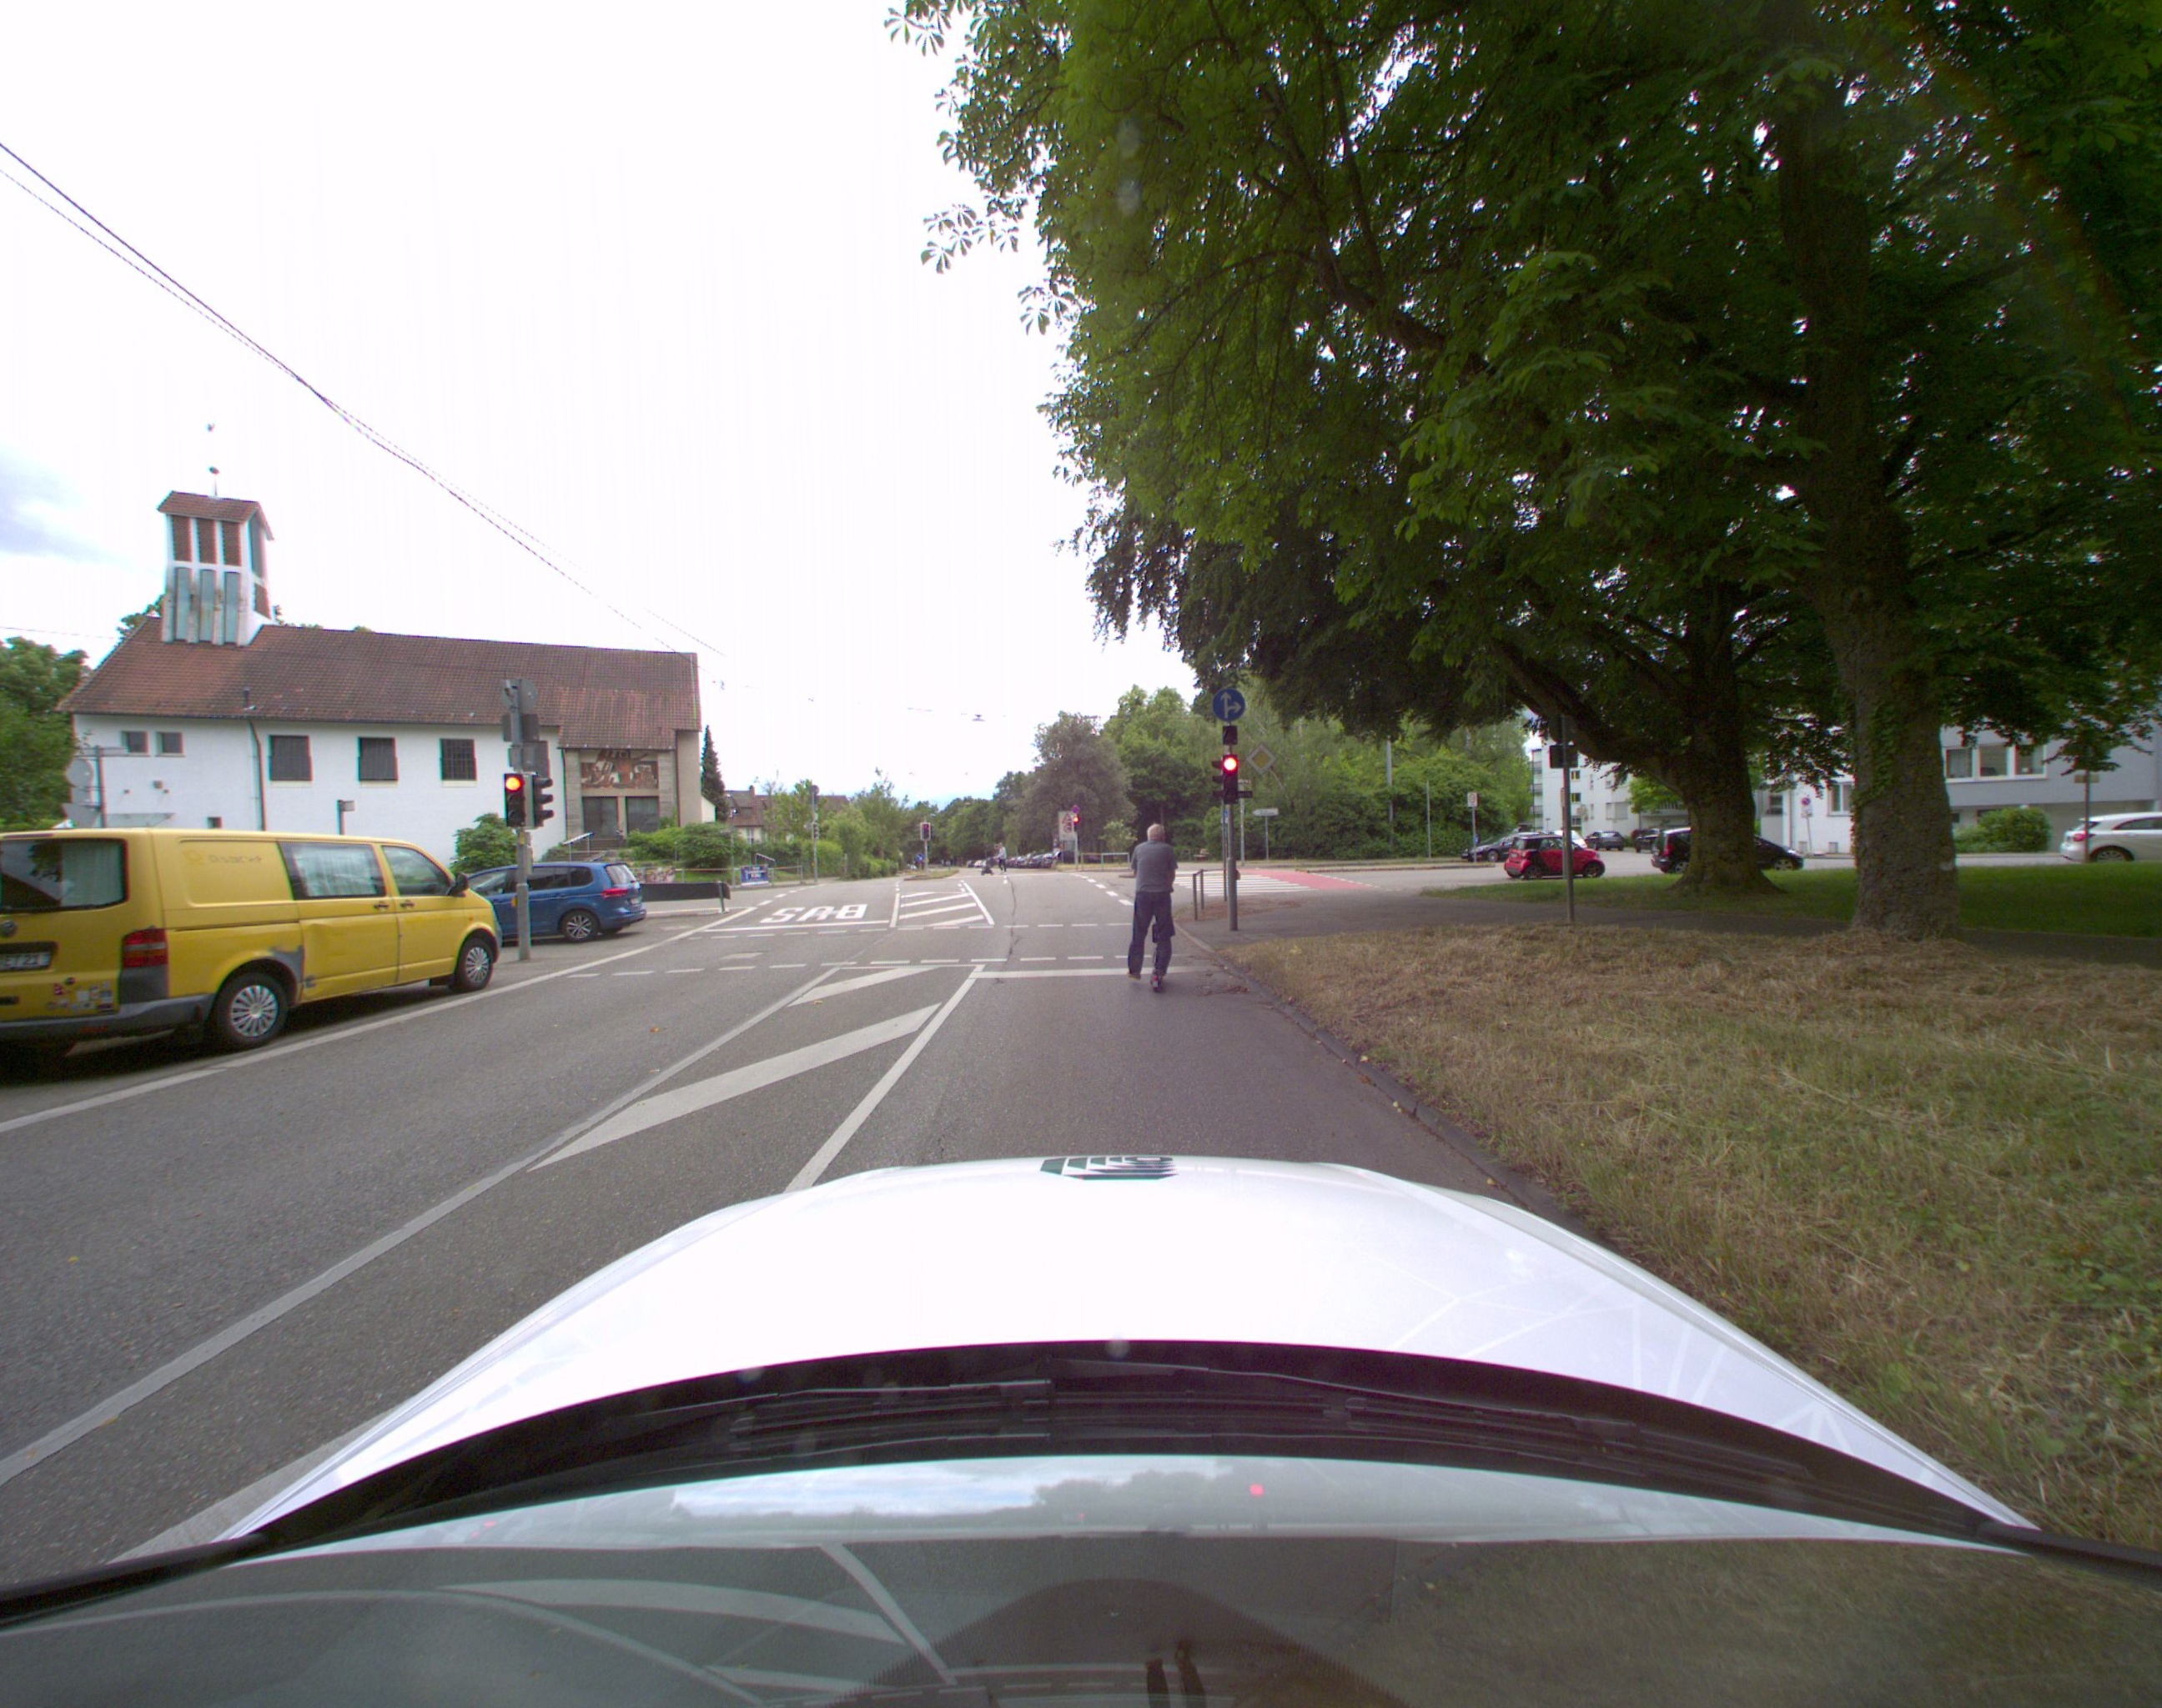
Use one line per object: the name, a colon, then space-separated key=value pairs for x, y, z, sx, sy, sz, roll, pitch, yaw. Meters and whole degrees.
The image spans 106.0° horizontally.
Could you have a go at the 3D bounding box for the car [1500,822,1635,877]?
car: x=16.422 y=-0.149 z=27.633 sx=3.500 sy=1.610 sz=1.731 roll=-3 pitch=0 yaw=6

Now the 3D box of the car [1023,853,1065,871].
car: x=-3.711 y=0.813 z=81.706 sx=3.856 sy=1.610 sz=1.716 roll=-3 pitch=0 yaw=-22

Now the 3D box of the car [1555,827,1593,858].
car: x=28.564 y=-0.678 z=47.243 sx=1.706 sy=1.610 sz=3.878 roll=-3 pitch=0 yaw=29

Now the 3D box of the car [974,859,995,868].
car: x=-19.094 y=1.855 z=161.164 sx=3.856 sy=1.610 sz=1.716 roll=-3 pitch=0 yaw=-22

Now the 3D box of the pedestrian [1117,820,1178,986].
pedestrian: x=0.756 y=0.541 z=9.213 sx=0.569 sy=1.813 sz=0.421 roll=-2 pitch=0 yaw=9

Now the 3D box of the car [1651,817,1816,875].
car: x=20.738 y=-0.255 z=26.103 sx=3.805 sy=1.610 sz=1.739 roll=-3 pitch=0 yaw=27

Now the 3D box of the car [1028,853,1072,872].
car: x=-3.008 y=0.790 z=79.151 sx=3.858 sy=1.610 sz=1.715 roll=-3 pitch=0 yaw=-23

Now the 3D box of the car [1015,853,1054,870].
car: x=-5.078 y=0.800 z=89.083 sx=3.856 sy=1.610 sz=1.716 roll=-3 pitch=0 yaw=-22

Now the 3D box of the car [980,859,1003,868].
car: x=-17.235 y=1.864 z=156.744 sx=3.856 sy=1.610 sz=1.716 roll=-3 pitch=0 yaw=-22

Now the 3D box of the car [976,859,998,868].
car: x=-18.388 y=1.848 z=158.832 sx=3.856 sy=1.610 sz=1.716 roll=-3 pitch=0 yaw=-22

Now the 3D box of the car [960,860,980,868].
car: x=-24.340 y=2.250 z=178.442 sx=3.856 sy=1.610 sz=1.716 roll=-3 pitch=0 yaw=-22

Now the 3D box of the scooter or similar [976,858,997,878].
scooter or similar: x=-5.222 y=0.767 z=45.026 sx=1.106 sy=1.081 sz=0.576 roll=-2 pitch=0 yaw=-7

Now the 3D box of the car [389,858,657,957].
car: x=-11.101 y=1.001 z=16.526 sx=3.993 sy=1.610 sz=1.809 roll=-3 pitch=0 yaw=-14

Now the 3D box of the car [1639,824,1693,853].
car: x=35.334 y=-0.968 z=49.319 sx=1.707 sy=1.610 sz=3.875 roll=-3 pitch=0 yaw=22

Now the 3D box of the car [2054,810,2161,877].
car: x=27.803 y=-0.306 z=20.619 sx=3.805 sy=1.610 sz=1.739 roll=-3 pitch=0 yaw=42

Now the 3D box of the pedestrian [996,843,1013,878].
pedestrian: x=-4.252 y=0.353 z=45.185 sx=0.883 sy=1.862 sz=0.573 roll=-2 pitch=0 yaw=-8

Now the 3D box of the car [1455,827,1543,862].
car: x=20.927 y=-0.457 z=40.904 sx=3.499 sy=1.530 sz=1.732 roll=-3 pitch=0 yaw=7

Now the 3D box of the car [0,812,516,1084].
car: x=-8.287 y=0.726 z=8.460 sx=1.881 sy=2.013 sz=4.557 roll=-3 pitch=0 yaw=-5

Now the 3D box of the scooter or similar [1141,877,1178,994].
scooter or similar: x=0.893 y=0.869 z=9.095 sx=0.280 sy=1.178 sz=1.180 roll=-2 pitch=0 yaw=10

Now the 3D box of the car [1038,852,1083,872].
car: x=-1.986 y=0.752 z=77.162 sx=3.854 sy=1.610 sz=1.717 roll=-3 pitch=0 yaw=-20

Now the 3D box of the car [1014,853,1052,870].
car: x=-5.425 y=0.818 z=91.503 sx=3.856 sy=1.610 sz=1.716 roll=-3 pitch=0 yaw=-22

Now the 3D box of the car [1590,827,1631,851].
car: x=38.658 y=-1.141 z=59.550 sx=1.707 sy=1.610 sz=3.875 roll=-3 pitch=0 yaw=22
